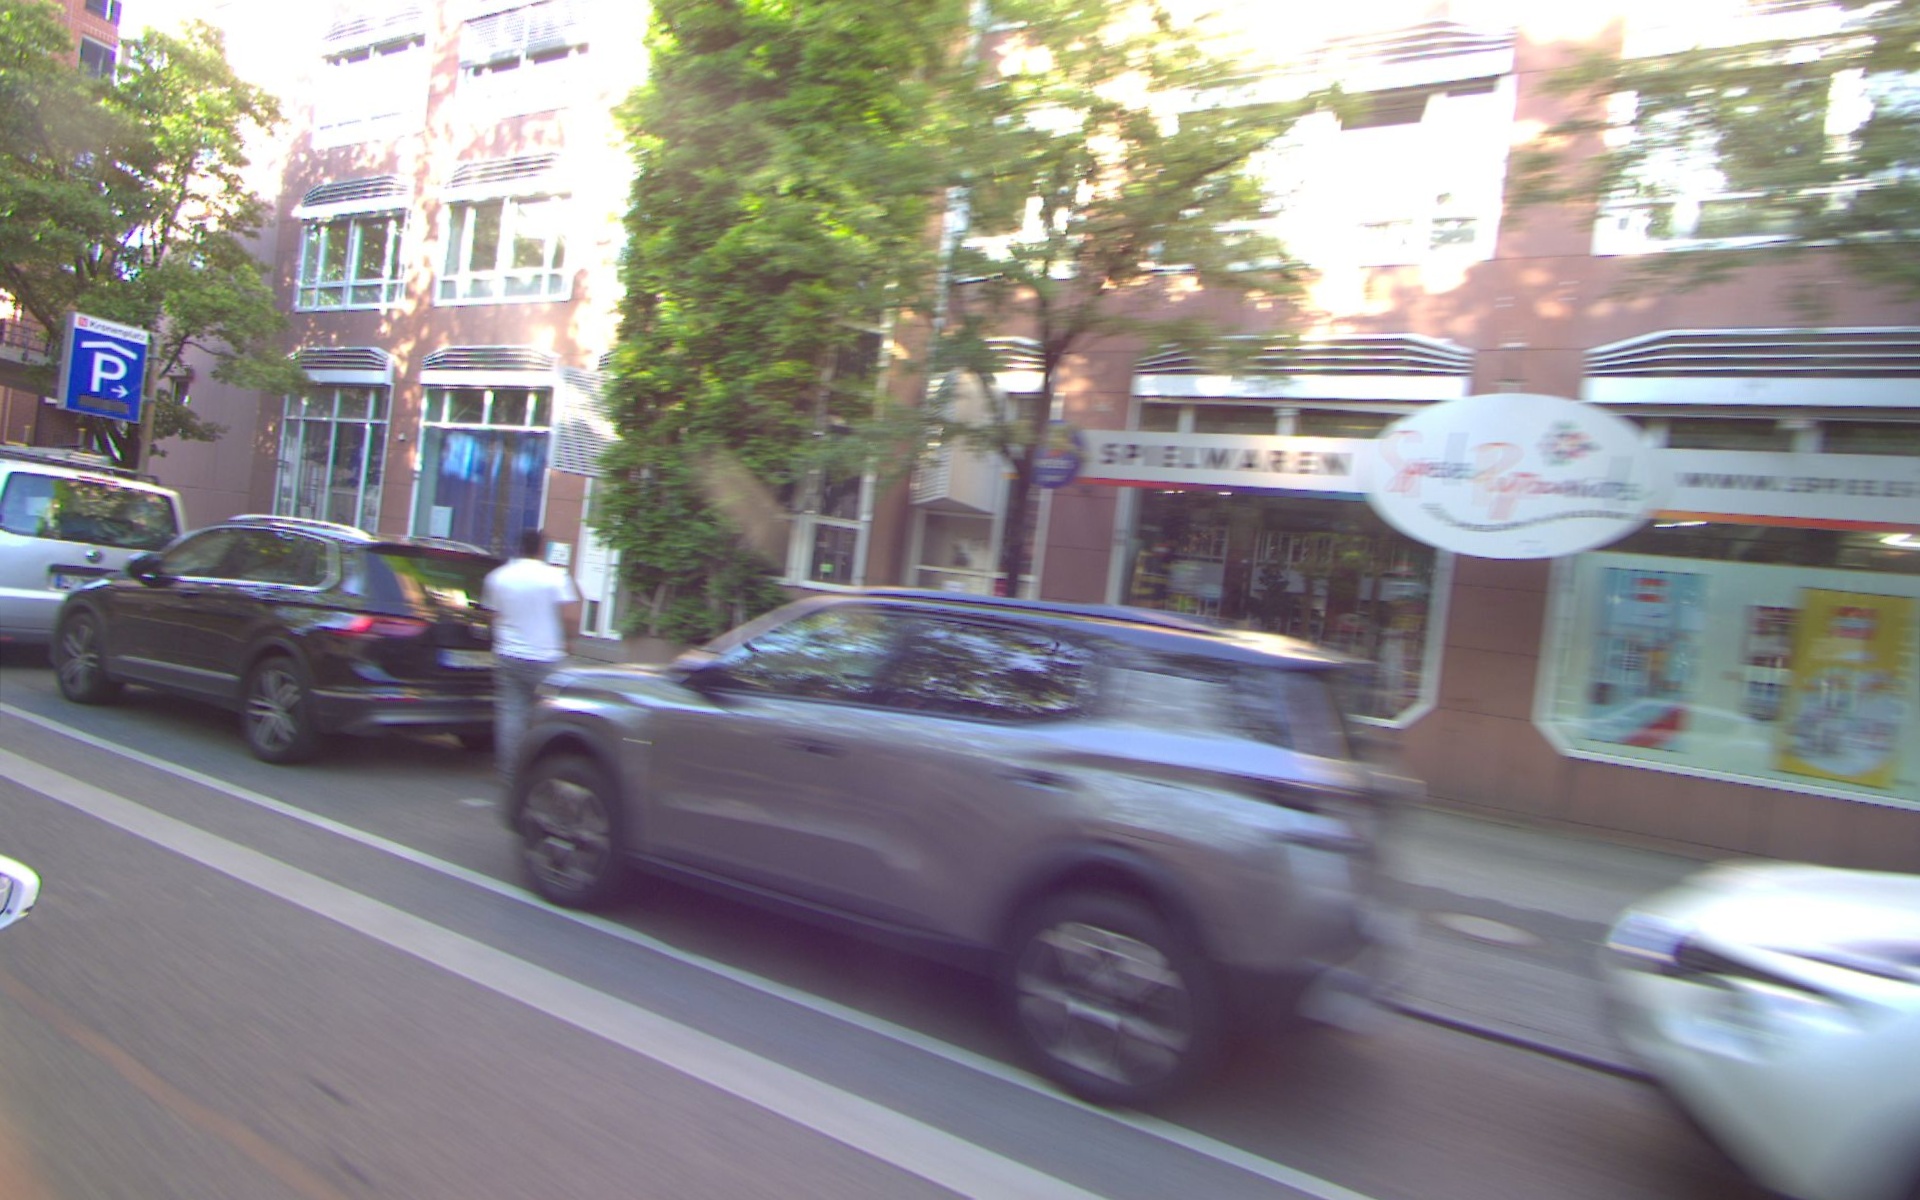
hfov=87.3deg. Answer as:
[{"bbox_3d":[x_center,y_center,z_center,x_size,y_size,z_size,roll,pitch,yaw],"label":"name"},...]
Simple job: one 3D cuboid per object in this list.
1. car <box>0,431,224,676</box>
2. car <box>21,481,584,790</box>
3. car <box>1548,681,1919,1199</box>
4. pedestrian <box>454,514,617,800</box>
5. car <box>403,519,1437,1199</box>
[{"bbox_3d":[-10.260,-0.620,10.524,5.080,2.104,1.923,7,0,27],"label":"car"},{"bbox_3d":[-5.225,0.174,7.926,4.126,1.690,1.792,7,0,27],"label":"car"},{"bbox_3d":[3.925,1.284,2.556,3.930,1.598,1.833,7,0,27],"label":"car"},{"bbox_3d":[-2.949,0.388,7.055,0.651,1.835,0.715,7,1,-2],"label":"pedestrian"},{"bbox_3d":[-0.296,0.746,4.697,4.362,1.690,1.792,7,0,27],"label":"car"}]
